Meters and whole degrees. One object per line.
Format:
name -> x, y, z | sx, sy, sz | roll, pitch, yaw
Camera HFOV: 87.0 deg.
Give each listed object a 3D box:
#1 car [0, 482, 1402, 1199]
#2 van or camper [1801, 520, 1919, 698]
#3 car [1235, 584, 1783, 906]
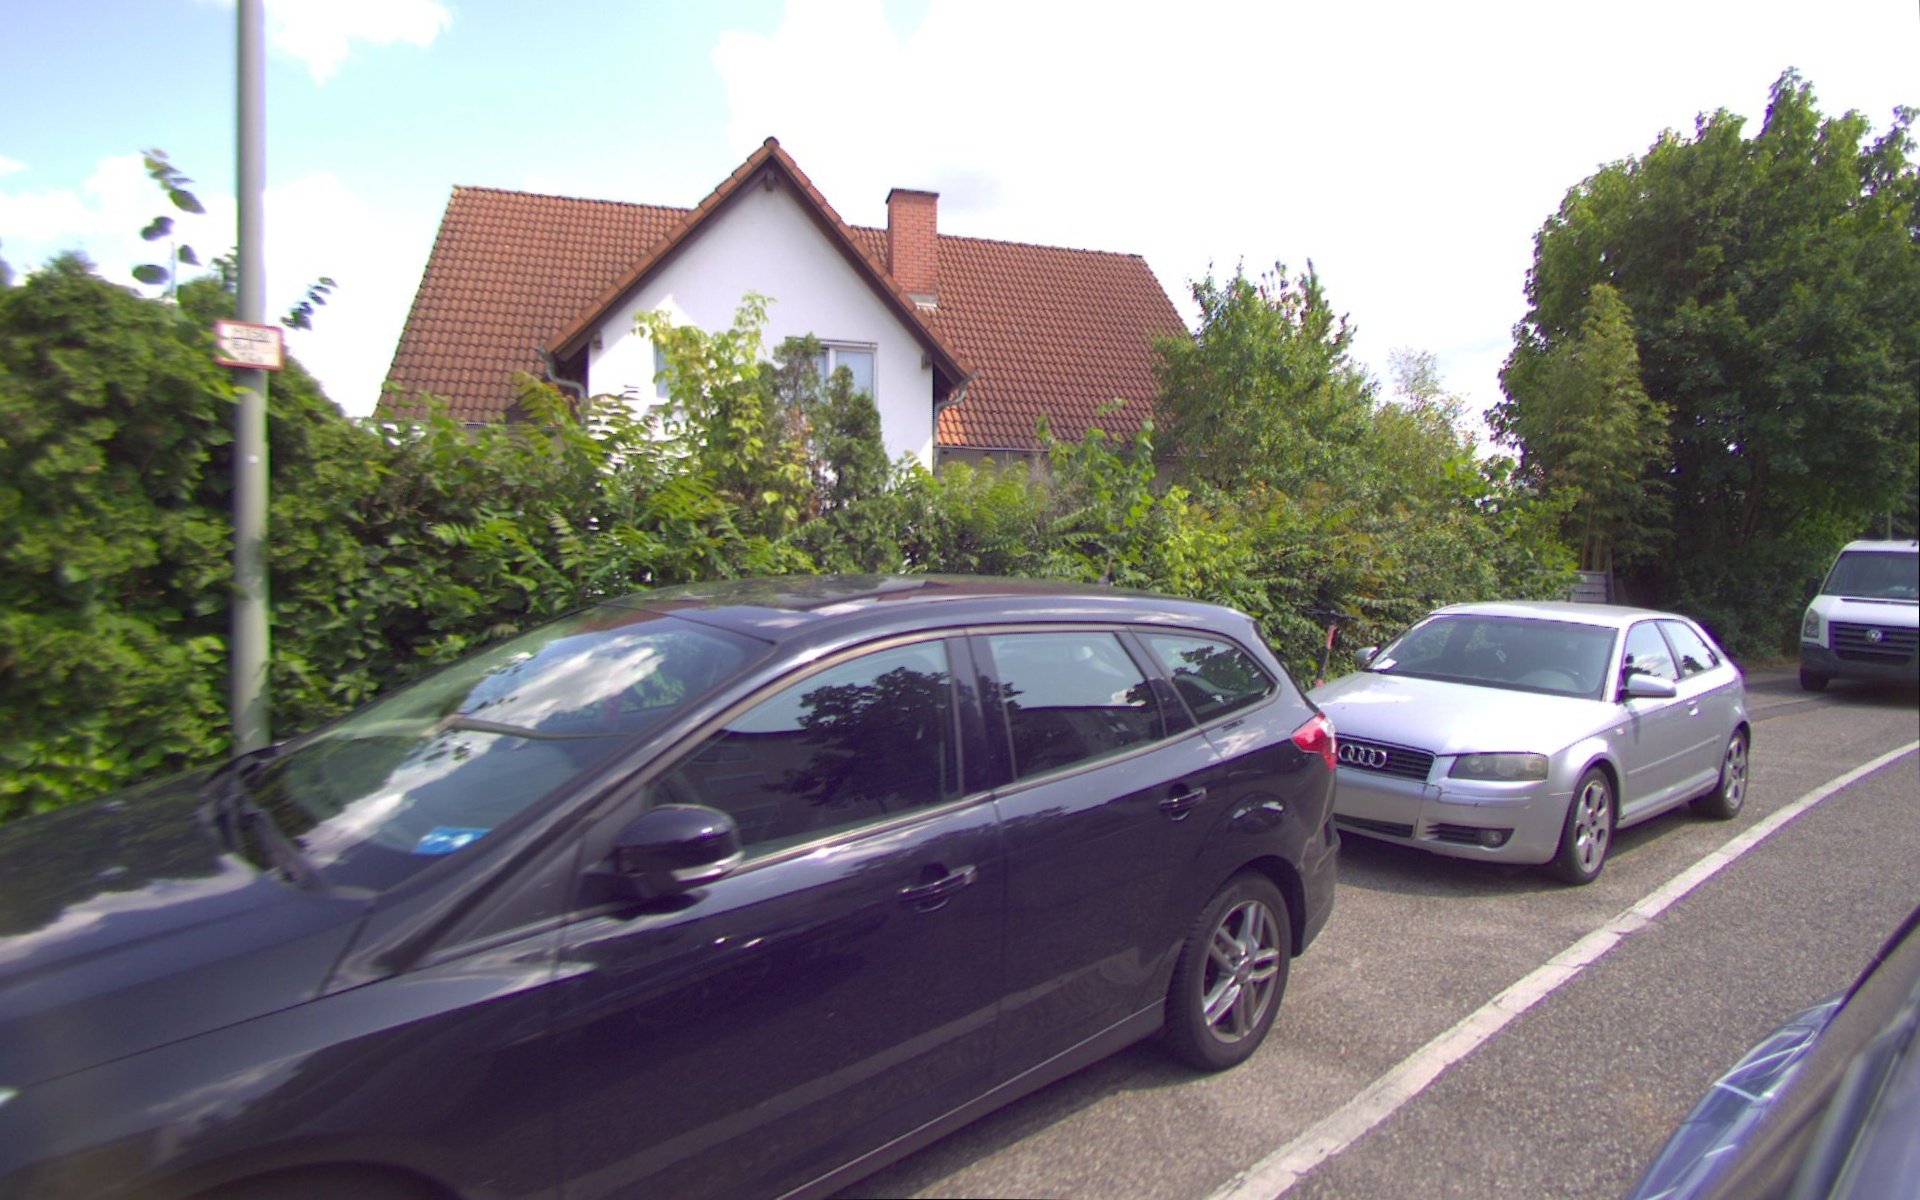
car -> -0.589, 0.573, 2.897 | 4.221, 1.523, 1.731 | 0, 3, -41
van or camper -> 15.086, 0.120, 15.494 | 5.648, 2.389, 1.975 | 0, 0, -35
car -> 3.688, 0.649, 6.509 | 3.988, 1.455, 1.684 | 0, 1, -39
